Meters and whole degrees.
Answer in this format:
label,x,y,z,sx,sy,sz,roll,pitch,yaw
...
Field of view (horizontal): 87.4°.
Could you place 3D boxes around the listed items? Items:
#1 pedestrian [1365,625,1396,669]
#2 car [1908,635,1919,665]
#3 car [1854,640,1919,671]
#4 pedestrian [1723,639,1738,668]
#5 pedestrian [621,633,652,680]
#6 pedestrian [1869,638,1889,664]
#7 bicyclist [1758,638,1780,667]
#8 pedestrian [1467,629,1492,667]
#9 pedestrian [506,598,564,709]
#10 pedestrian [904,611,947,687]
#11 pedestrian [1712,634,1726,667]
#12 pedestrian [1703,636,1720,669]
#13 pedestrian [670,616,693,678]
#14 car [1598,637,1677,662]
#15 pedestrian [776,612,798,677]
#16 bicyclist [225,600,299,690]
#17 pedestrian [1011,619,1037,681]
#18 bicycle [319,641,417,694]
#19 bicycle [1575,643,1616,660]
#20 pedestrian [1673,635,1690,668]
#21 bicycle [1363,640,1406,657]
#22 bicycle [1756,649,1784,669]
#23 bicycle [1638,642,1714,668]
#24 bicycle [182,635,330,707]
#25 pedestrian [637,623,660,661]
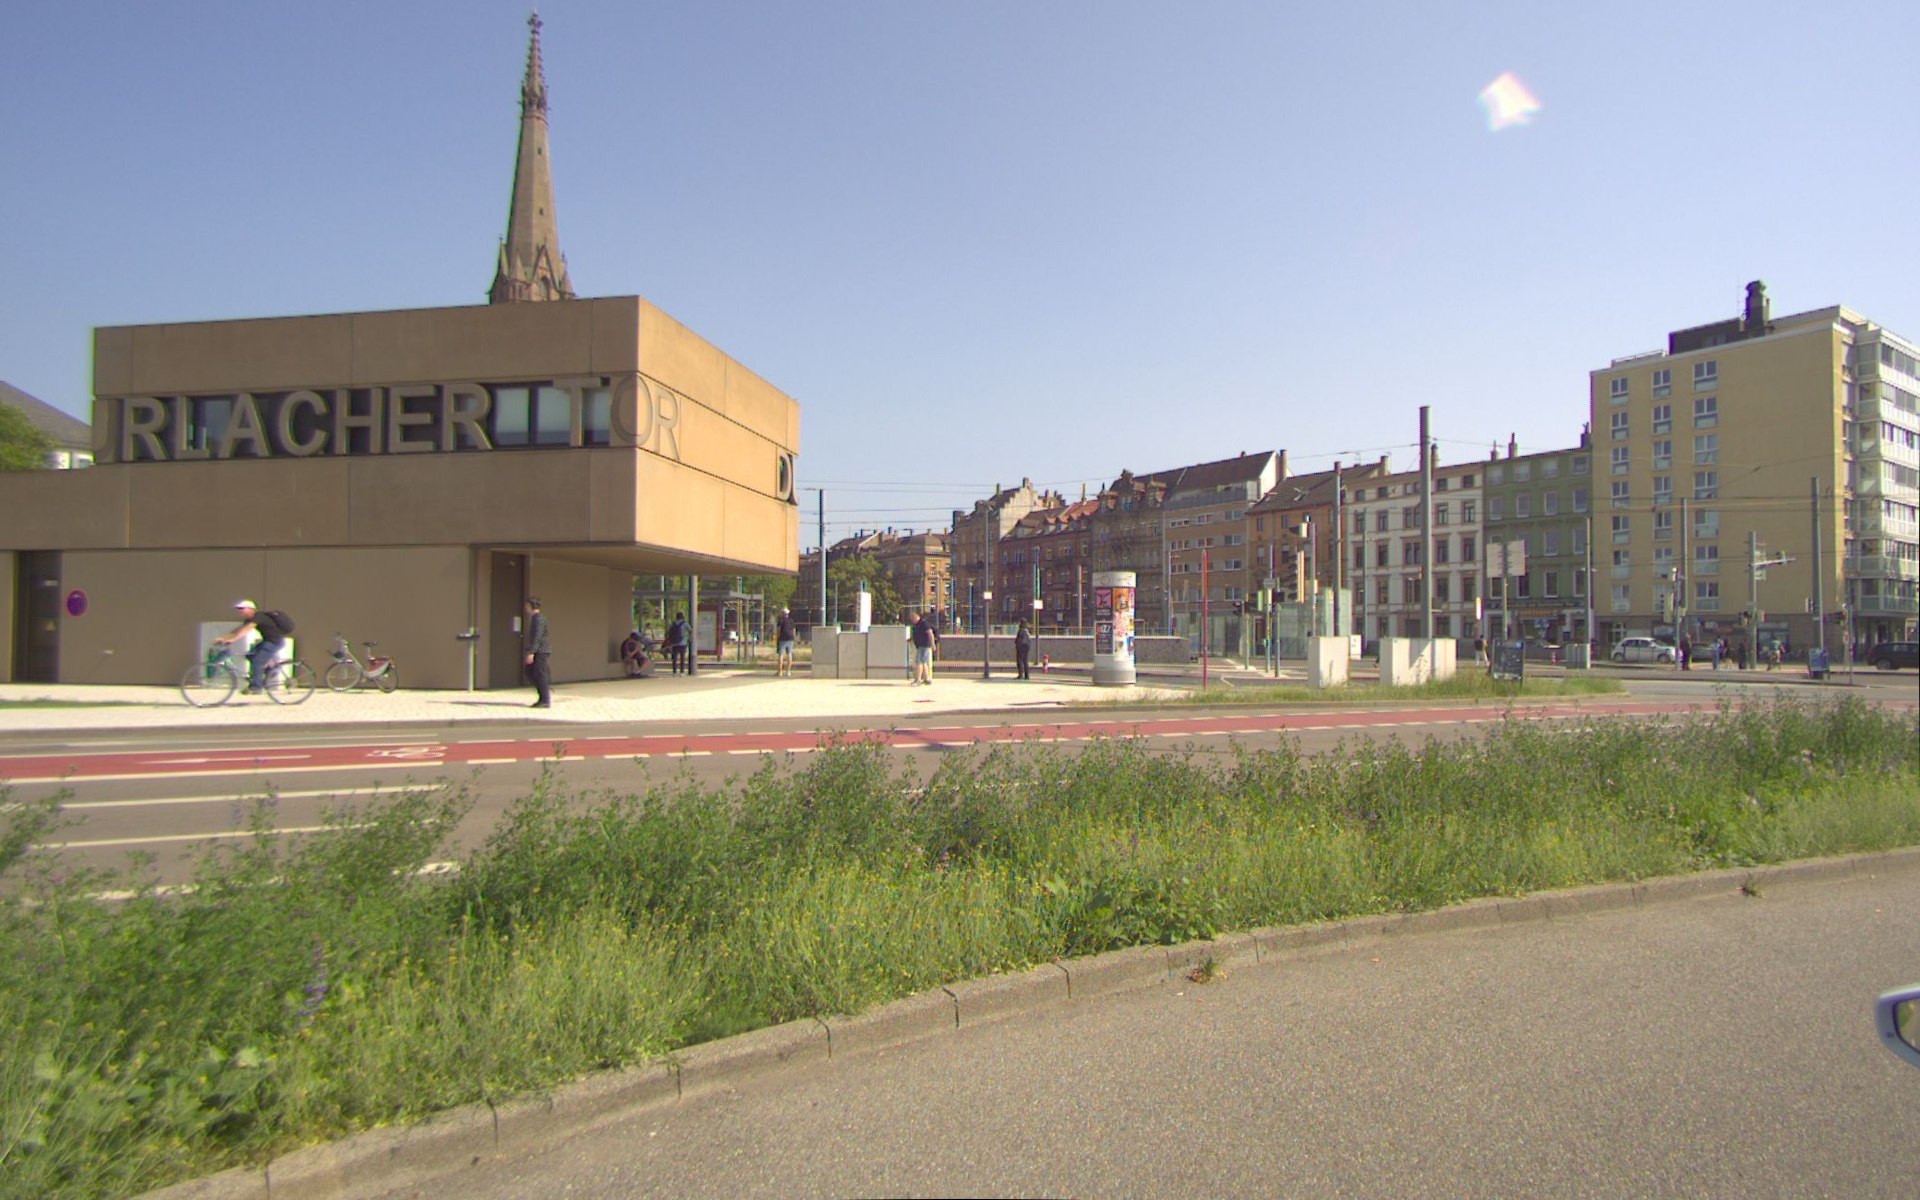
label,x,y,z,sx,sy,sz,roll,pitch,yaw
pedestrian,20.350,2.256,48.644,1.010,2.040,0.953,-2,0,-32
car,51.242,2.601,51.128,1.606,1.522,4.062,2,-2,-26
car,46.204,2.692,48.723,1.571,1.417,4.012,2,-2,-35
pedestrian,40.759,2.847,53.137,0.489,1.507,0.440,-2,0,19
pedestrian,-8.292,1.447,25.735,0.513,1.187,0.596,0,-2,10
pedestrian,58.720,3.246,64.162,0.537,1.642,0.844,2,-2,-36
bicyclist,41.191,2.671,51.115,0.683,1.453,0.720,2,-2,-36
pedestrian,25.770,2.386,49.820,0.848,1.810,0.771,-2,2,-35
pedestrian,-7.200,0.883,17.029,0.836,1.802,0.872,-2,0,-23
pedestrian,-0.863,1.224,25.195,0.878,1.843,0.882,-2,0,9
pedestrian,40.218,2.671,53.232,0.447,1.707,0.440,-2,0,19
pedestrian,39.280,2.747,52.500,0.539,1.707,0.454,-2,0,-21
pedestrian,-7.886,1.327,28.437,0.524,1.718,0.606,-2,0,-9
car,41.494,3.007,61.601,1.569,1.411,3.717,2,-2,-32
pedestrian,-5.005,1.271,29.020,0.547,1.843,0.392,-2,0,-7
bicyclist,-11.062,0.698,15.937,0.872,1.380,0.560,-1,-1,-27
pedestrian,1.694,1.313,26.670,0.500,1.601,0.497,-2,0,-18
bicycle,-11.413,1.291,19.386,1.580,0.968,0.661,0,0,10
bicycle,45.486,3.698,71.874,2.411,1.131,0.737,-2,0,30
pedestrian,38.116,2.728,53.061,0.537,1.707,0.455,-2,0,-8
bicycle,36.062,4.082,85.433,0.766,1.366,3.509,-2,0,-33
bicycle,41.217,3.012,51.125,1.716,0.997,0.722,2,-2,-37
bicycle,47.677,3.657,66.956,1.183,1.572,3.963,-1,0,-34
bicycle,-11.100,1.111,15.904,1.828,1.078,0.559,2,-1,-29
pedestrian,-13.492,1.814,43.552,0.782,1.612,0.692,1,-1,-2
